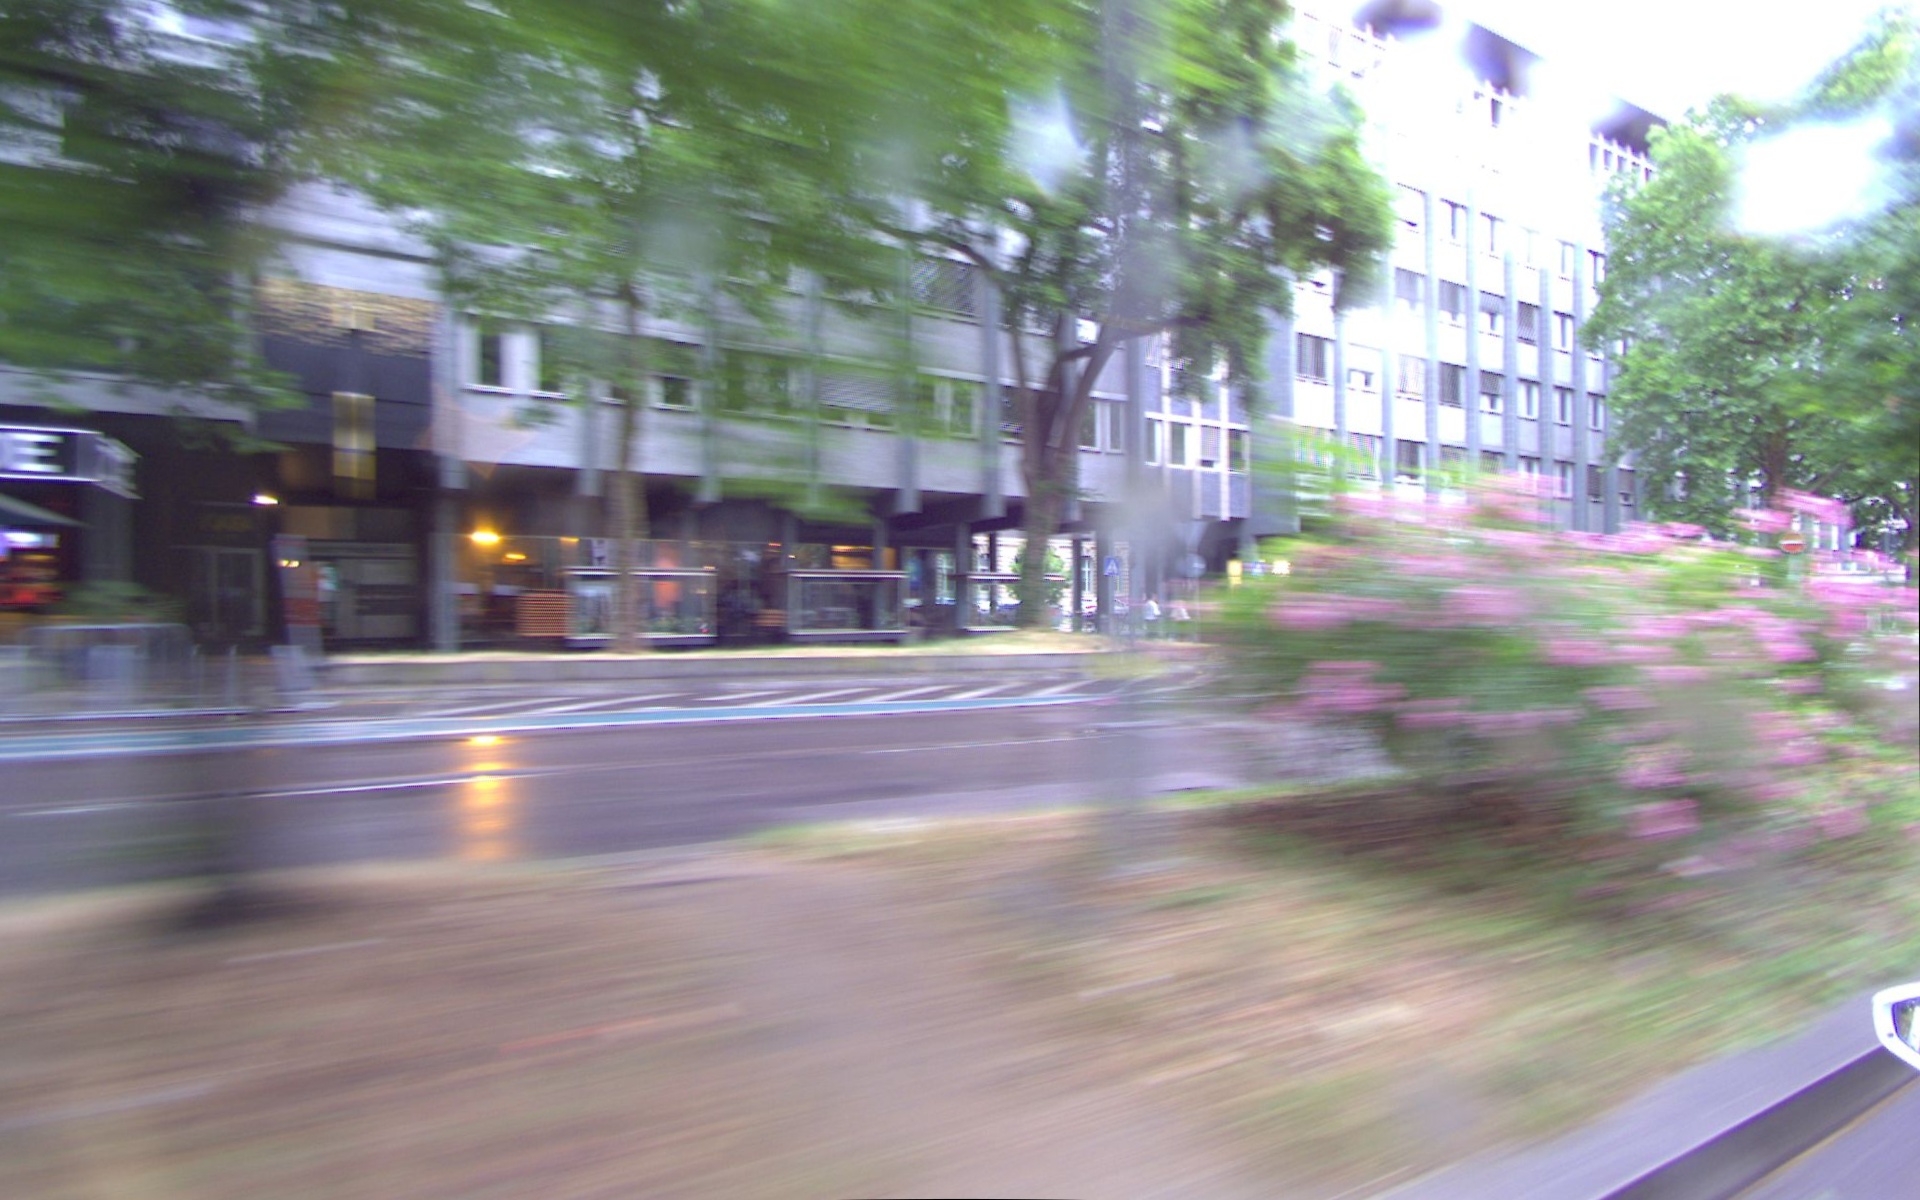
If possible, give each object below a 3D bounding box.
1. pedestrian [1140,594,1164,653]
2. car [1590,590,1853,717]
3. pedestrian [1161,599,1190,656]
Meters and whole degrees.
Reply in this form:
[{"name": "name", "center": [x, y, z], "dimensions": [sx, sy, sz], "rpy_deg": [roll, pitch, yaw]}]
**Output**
[{"name": "pedestrian", "center": [6.087, 0.741, 31.849], "dimensions": [0.516, 1.831, 0.545], "rpy_deg": [1, 0, -30]}, {"name": "car", "center": [11.318, 0.722, 14.886], "dimensions": [3.967, 1.659, 1.714], "rpy_deg": [1, 0, -30]}, {"name": "pedestrian", "center": [6.635, 0.829, 30.917], "dimensions": [0.678, 1.731, 0.561], "rpy_deg": [1, 0, -30]}]
